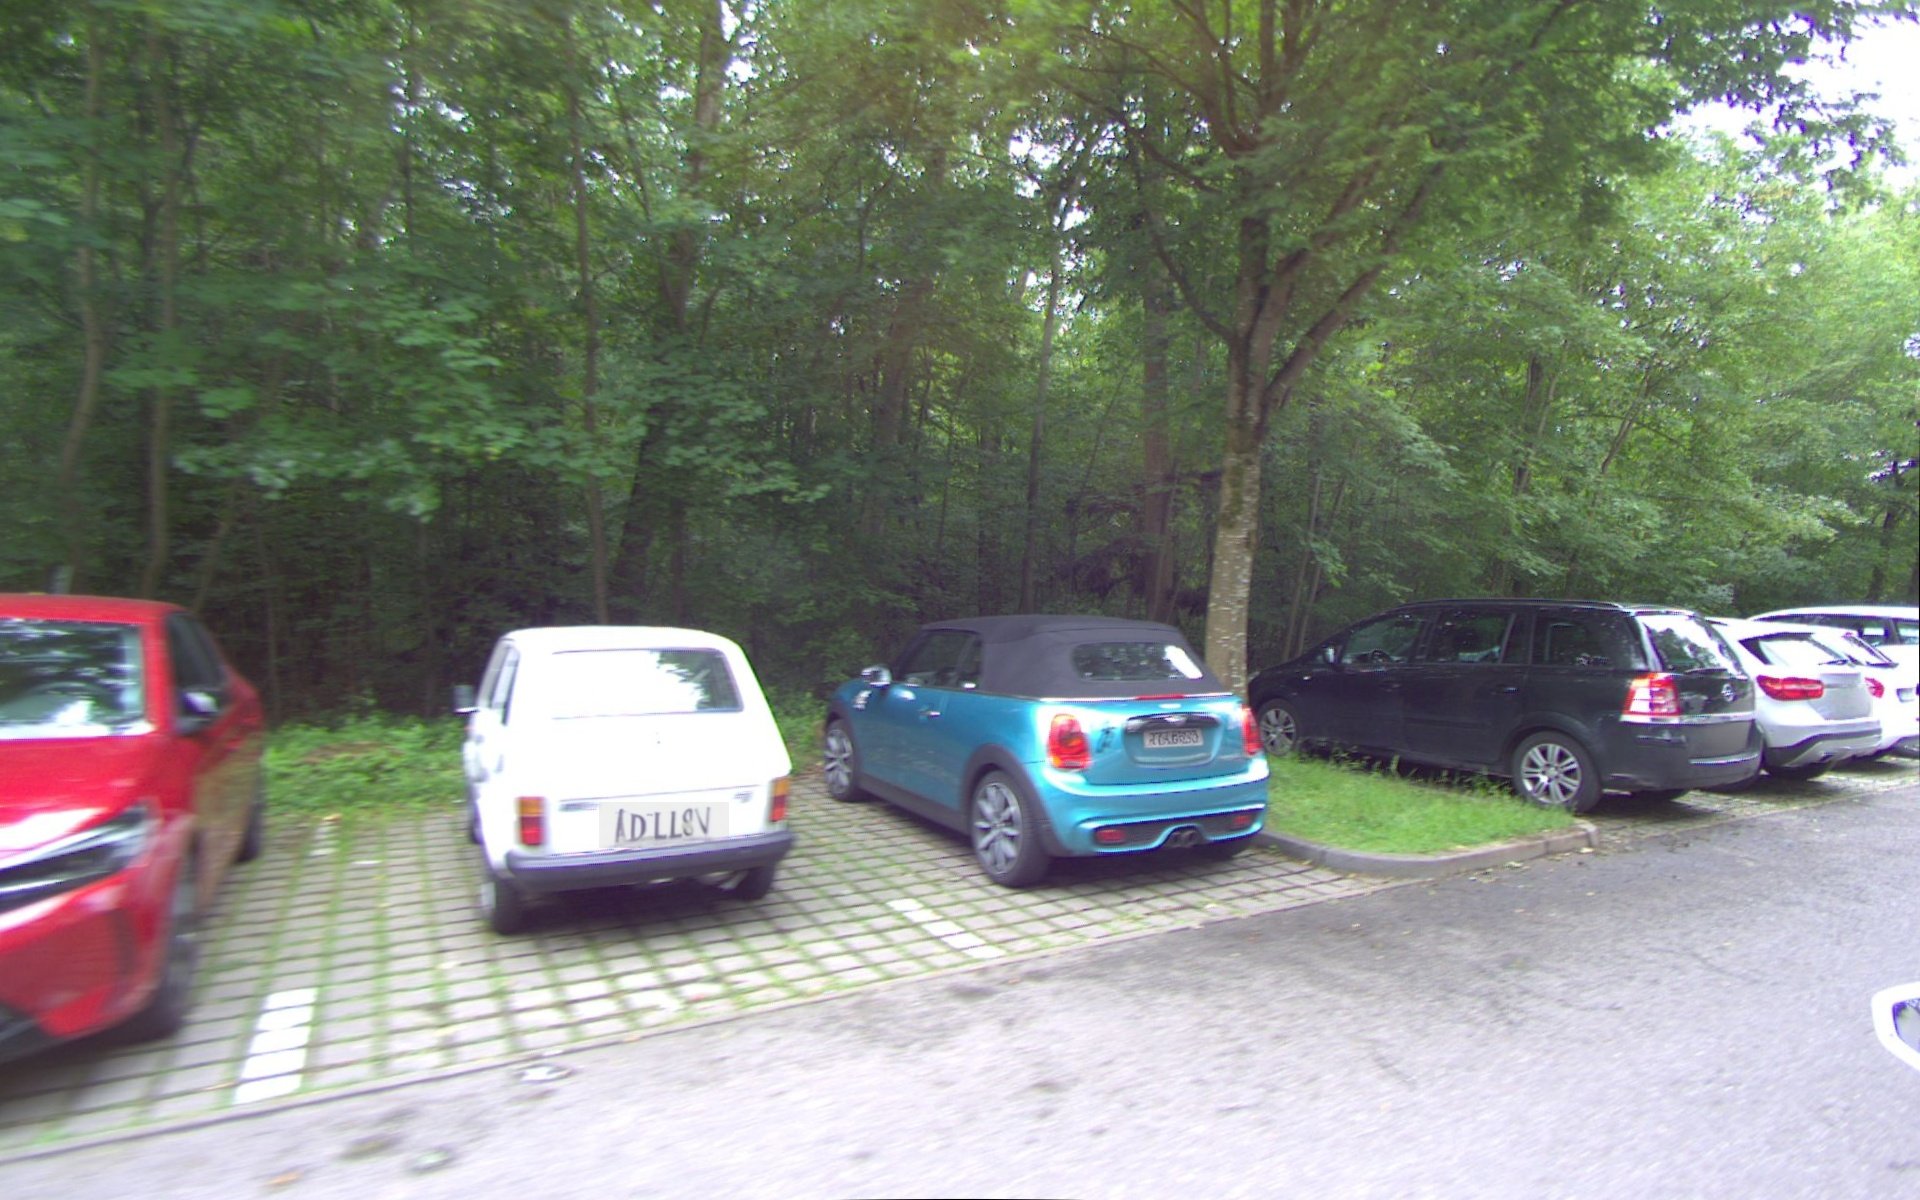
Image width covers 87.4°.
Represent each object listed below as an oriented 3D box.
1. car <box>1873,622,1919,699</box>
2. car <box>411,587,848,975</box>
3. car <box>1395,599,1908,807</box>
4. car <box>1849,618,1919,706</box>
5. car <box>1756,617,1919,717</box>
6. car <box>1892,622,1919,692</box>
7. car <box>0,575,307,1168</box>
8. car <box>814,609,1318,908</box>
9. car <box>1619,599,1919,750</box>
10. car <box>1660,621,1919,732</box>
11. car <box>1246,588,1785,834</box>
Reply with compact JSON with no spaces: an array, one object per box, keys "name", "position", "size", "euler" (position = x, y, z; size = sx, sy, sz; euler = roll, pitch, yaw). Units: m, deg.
[{"name":"car","position":[19.670,1.204,18.449],"size":[1.656,1.455,3.971],"euler":[1,1,-28]},{"name":"car","position":[-2.249,0.697,5.972],"size":[1.750,1.467,3.969],"euler":[1,0,-29]},{"name":"car","position":[6.760,0.861,10.298],"size":[1.792,1.684,3.970],"euler":[1,-1,-29]},{"name":"car","position":[17.356,1.093,16.359],"size":[1.656,1.455,3.971],"euler":[1,1,-28]},{"name":"car","position":[15.106,1.070,15.601],"size":[1.628,1.454,3.971],"euler":[3,-1,-28]},{"name":"car","position":[21.644,1.254,20.169],"size":[1.681,1.455,3.971],"euler":[1,1,-28]},{"name":"car","position":[-3.882,0.693,4.086],"size":[1.750,1.536,3.969],"euler":[1,0,-29]},{"name":"car","position":[0.400,0.807,7.098],"size":[1.674,1.467,3.973],"euler":[1,-1,-27]},{"name":"car","position":[10.914,0.842,12.672],"size":[1.793,1.684,3.967],"euler":[1,0,-31]},{"name":"car","position":[12.949,1.078,14.787],"size":[1.794,1.439,3.967],"euler":[3,-2,-31]},{"name":"car","position":[4.665,0.789,9.050],"size":[1.677,1.684,3.967],"euler":[1,-1,-31]}]
